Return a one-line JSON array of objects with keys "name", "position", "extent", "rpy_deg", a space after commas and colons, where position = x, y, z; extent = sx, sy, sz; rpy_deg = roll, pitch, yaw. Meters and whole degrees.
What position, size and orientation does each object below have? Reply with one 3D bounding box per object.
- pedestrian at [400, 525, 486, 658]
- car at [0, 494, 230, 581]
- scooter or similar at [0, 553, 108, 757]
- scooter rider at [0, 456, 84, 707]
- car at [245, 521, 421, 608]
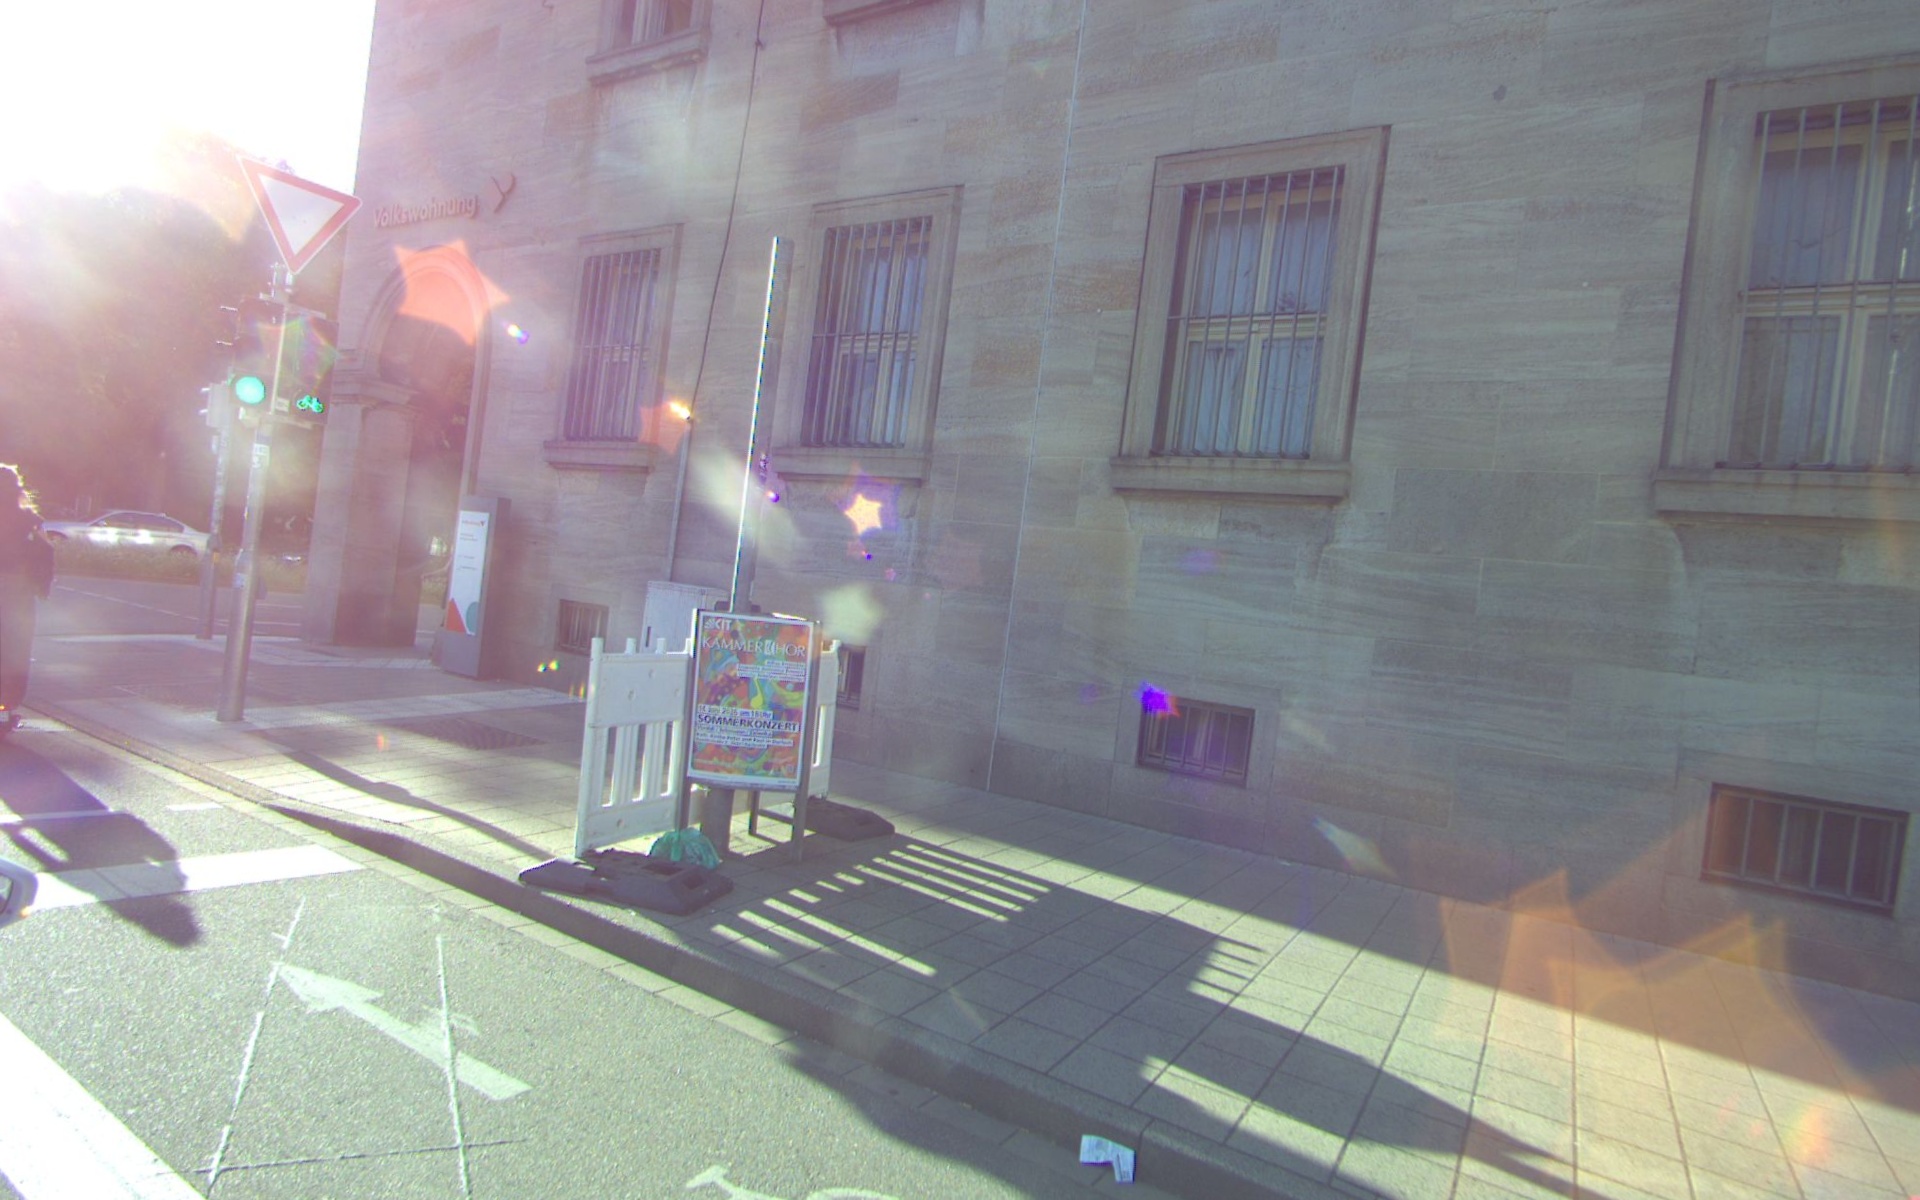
[{"name": "pedestrian", "position": [-6.568, -0.110, 12.778], "extent": [0.799, 1.628, 0.596], "rpy_deg": [3, 2, 31]}, {"name": "car", "position": [-22.543, -1.610, 26.748], "extent": [1.967, 1.533, 4.586], "rpy_deg": [6, -3, 32]}, {"name": "scooter or similar", "position": [-6.107, 0.309, 6.415], "extent": [1.251, 1.163, 0.574], "rpy_deg": [7, -2, 33]}, {"name": "scooter rider", "position": [-6.268, -0.131, 6.563], "extent": [0.567, 1.581, 0.546], "rpy_deg": [6, -1, 30]}, {"name": "car", "position": [-19.353, -1.056, 31.205], "extent": [1.968, 2.036, 3.994], "rpy_deg": [6, -2, 33]}]
